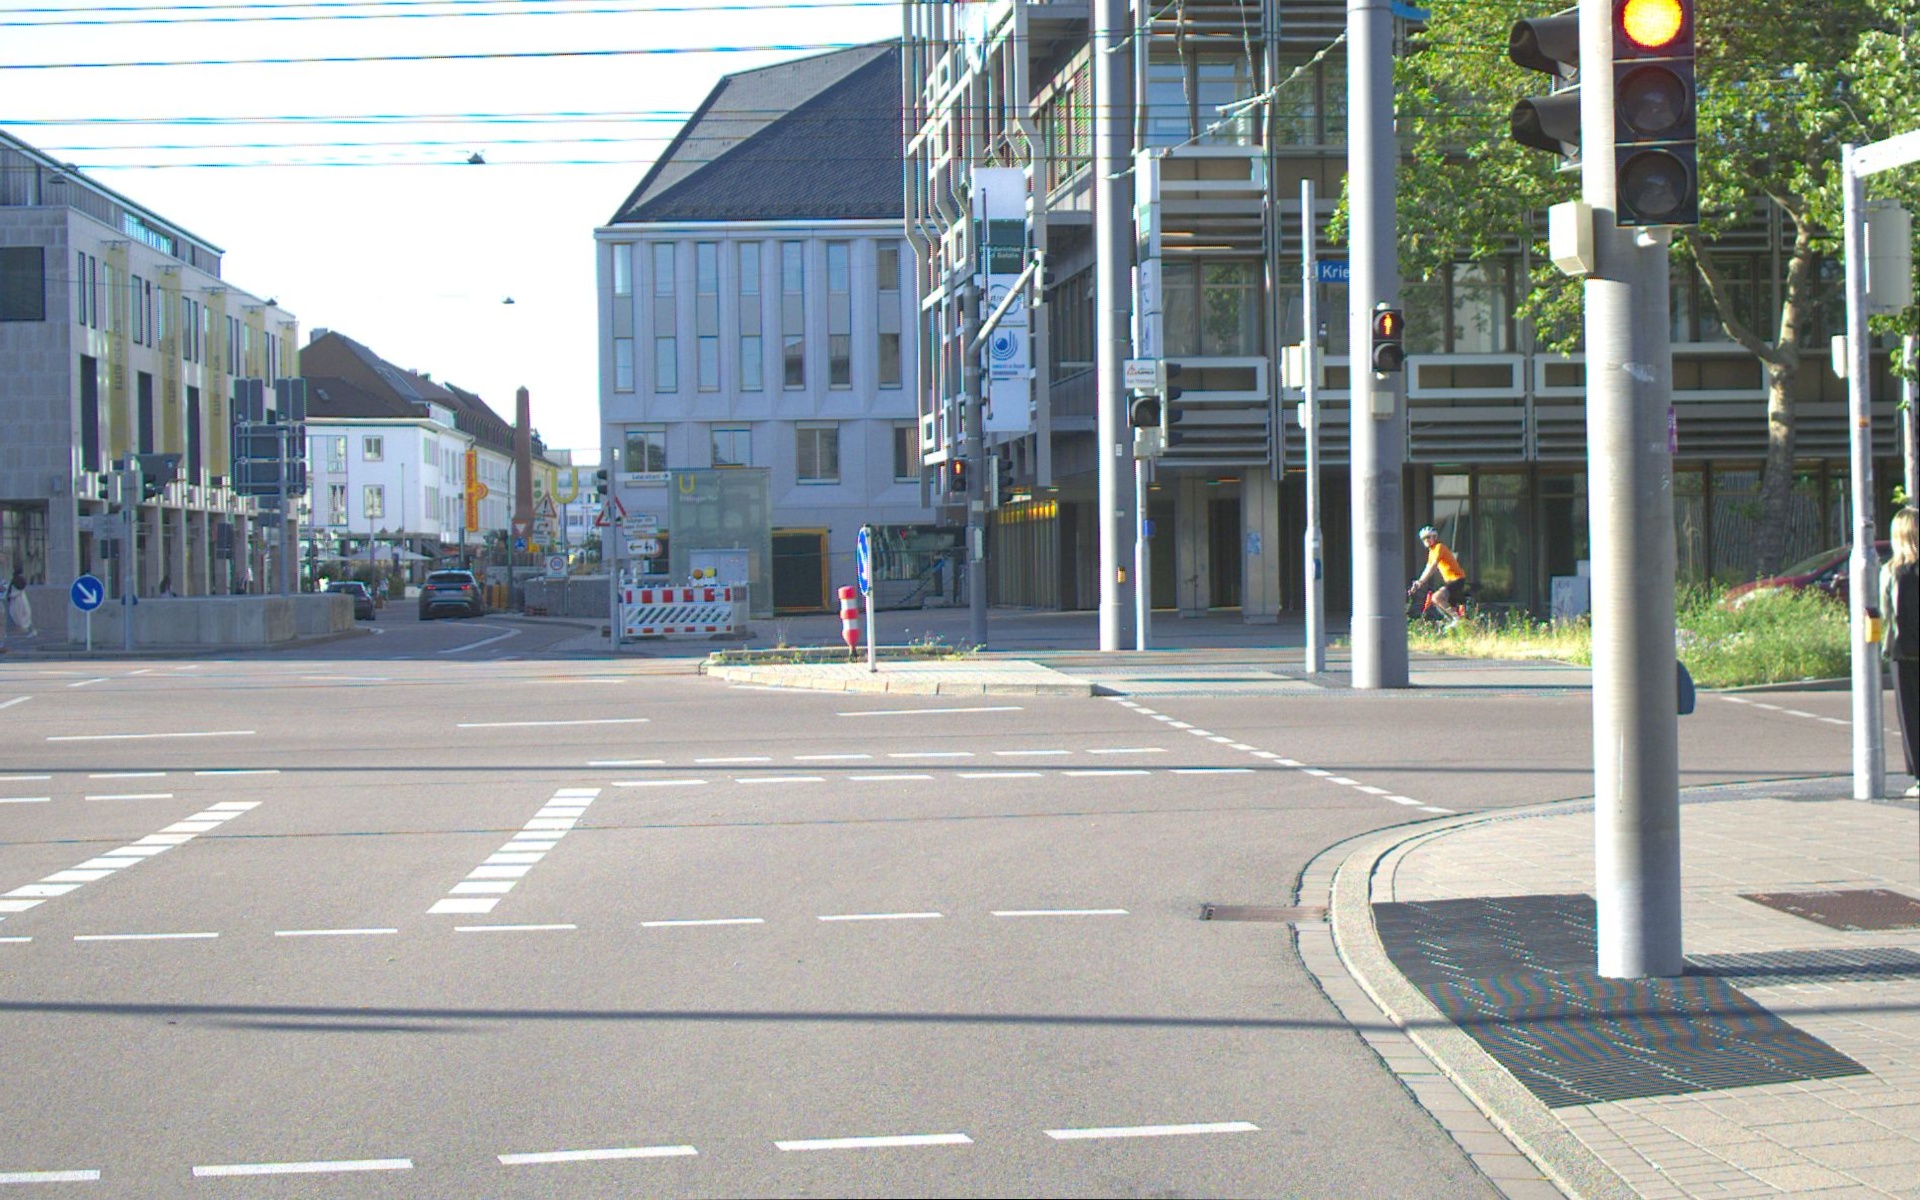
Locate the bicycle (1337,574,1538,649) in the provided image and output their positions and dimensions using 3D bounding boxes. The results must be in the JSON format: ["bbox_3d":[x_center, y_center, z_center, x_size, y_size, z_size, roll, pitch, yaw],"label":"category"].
[{"bbox_3d":[6.532,0.152,47.123,2.568,0.972,1.047,-1,1,-3],"label":"bicycle"}]

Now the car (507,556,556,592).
[{"bbox_3d":[-18.138,-1.112,145.729,1.658,1.453,3.542,-1,1,-1],"label":"car"}]

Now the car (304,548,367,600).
[{"bbox_3d":[-20.877,-0.877,115.070,1.819,1.678,4.001,-1,1,-7],"label":"car"}]

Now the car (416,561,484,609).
[{"bbox_3d":[-16.017,-0.479,108.081,1.658,1.453,3.542,-1,1,-1],"label":"car"}]

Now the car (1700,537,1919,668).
[{"bbox_3d":[12.390,0.002,46.419,4.287,1.678,1.826,-1,1,-11],"label":"car"}]

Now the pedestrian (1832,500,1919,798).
[{"bbox_3d":[5.327,0.254,18.984,0.765,1.608,0.874,-1,1,-2],"label":"pedestrian"}]

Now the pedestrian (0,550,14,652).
[{"bbox_3d":[-17.955,0.015,63.161,0.943,1.858,0.538,0,1,16],"label":"pedestrian"}]

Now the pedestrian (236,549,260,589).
[{"bbox_3d":[-28.854,-1.269,139.391,0.683,1.593,0.838,-1,1,9],"label":"pedestrian"}]

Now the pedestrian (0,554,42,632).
[{"bbox_3d":[-21.722,-0.161,79.209,0.899,1.776,0.808,-1,1,-1],"label":"pedestrian"}]

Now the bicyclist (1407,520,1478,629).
[{"bbox_3d":[6.610,-0.355,47.129,0.822,1.469,0.652,-1,1,-4],"label":"bicyclist"}]

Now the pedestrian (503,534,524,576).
[{"bbox_3d":[-21.393,-2.155,164.688,0.910,1.958,0.823,1,0,-1],"label":"pedestrian"}]
